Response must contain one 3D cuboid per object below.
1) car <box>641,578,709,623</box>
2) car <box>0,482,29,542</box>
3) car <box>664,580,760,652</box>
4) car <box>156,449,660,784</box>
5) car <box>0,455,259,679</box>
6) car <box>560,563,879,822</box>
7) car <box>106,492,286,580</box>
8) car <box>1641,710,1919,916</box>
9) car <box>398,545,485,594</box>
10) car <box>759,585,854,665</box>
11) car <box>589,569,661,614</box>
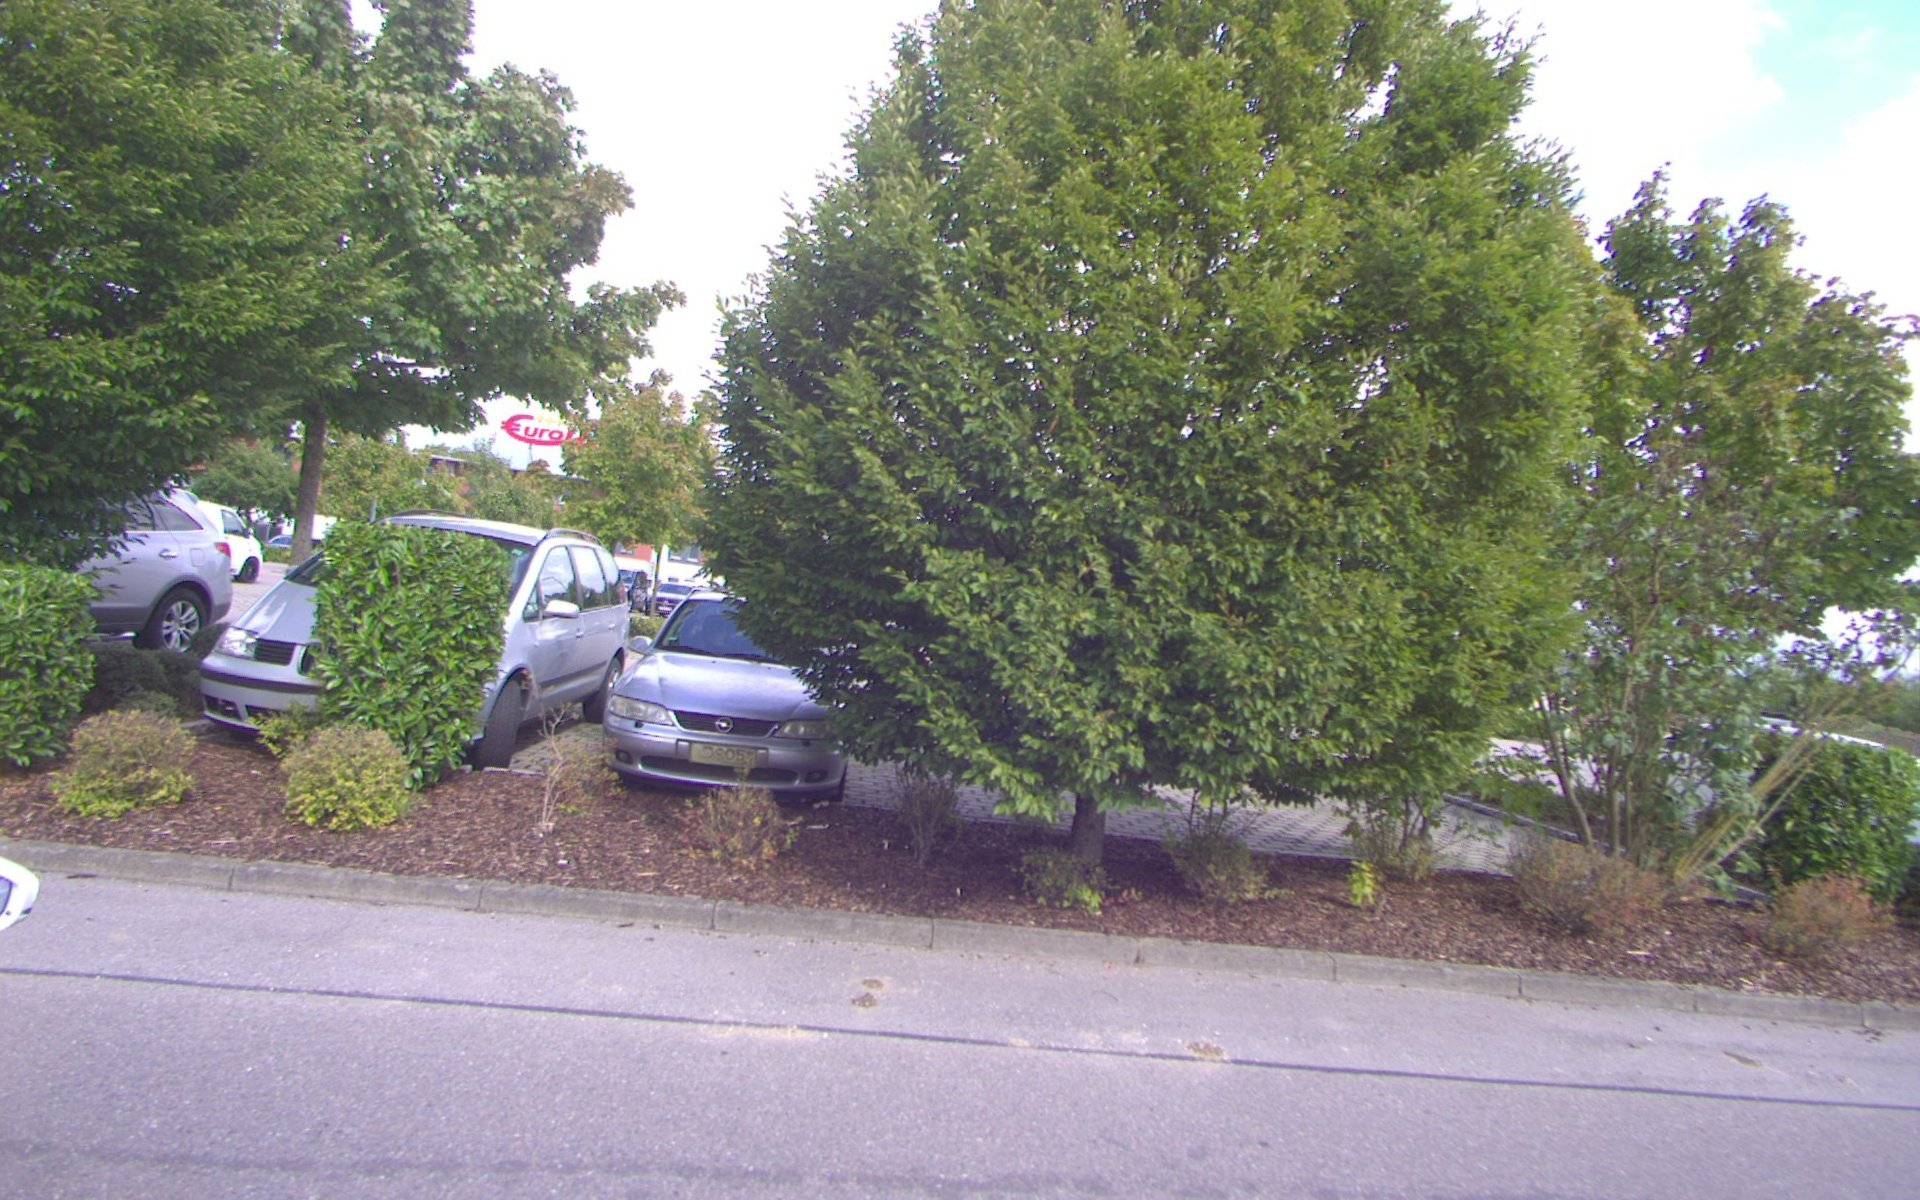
[{"bbox_3d":[-11.453,0.060,40.649,1.627,1.501,4.245,7,-2,-3],"label":"car"},{"bbox_3d":[-31.357,-3.003,30.025,4.993,1.731,1.748,8,-1,-8],"label":"car"},{"bbox_3d":[-6.109,0.404,25.226,1.692,1.444,4.273,8,-2,-7],"label":"car"},{"bbox_3d":[-3.832,0.162,8.006,1.627,1.736,4.364,7,-2,-3],"label":"car"},{"bbox_3d":[-8.314,-0.353,8.273,1.884,1.717,4.677,7,0,-4],"label":"car"},{"bbox_3d":[-1.613,0.622,8.112,1.695,1.365,4.000,8,-2,-3],"label":"car"},{"bbox_3d":[-18.476,-1.465,24.573,1.738,1.609,3.994,8,-2,-11],"label":"car"},{"bbox_3d":[9.090,2.116,9.993,1.695,1.452,3.881,8,-1,-3],"label":"car"},{"bbox_3d":[-19.897,-1.120,38.792,1.794,1.517,3.840,8,-2,-11],"label":"car"},{"bbox_3d":[-3.745,0.621,25.164,1.965,1.589,3.999,8,-2,-6],"label":"car"},{"bbox_3d":[-13.683,-0.298,41.314,1.627,1.501,4.245,7,-2,-3],"label":"car"}]
